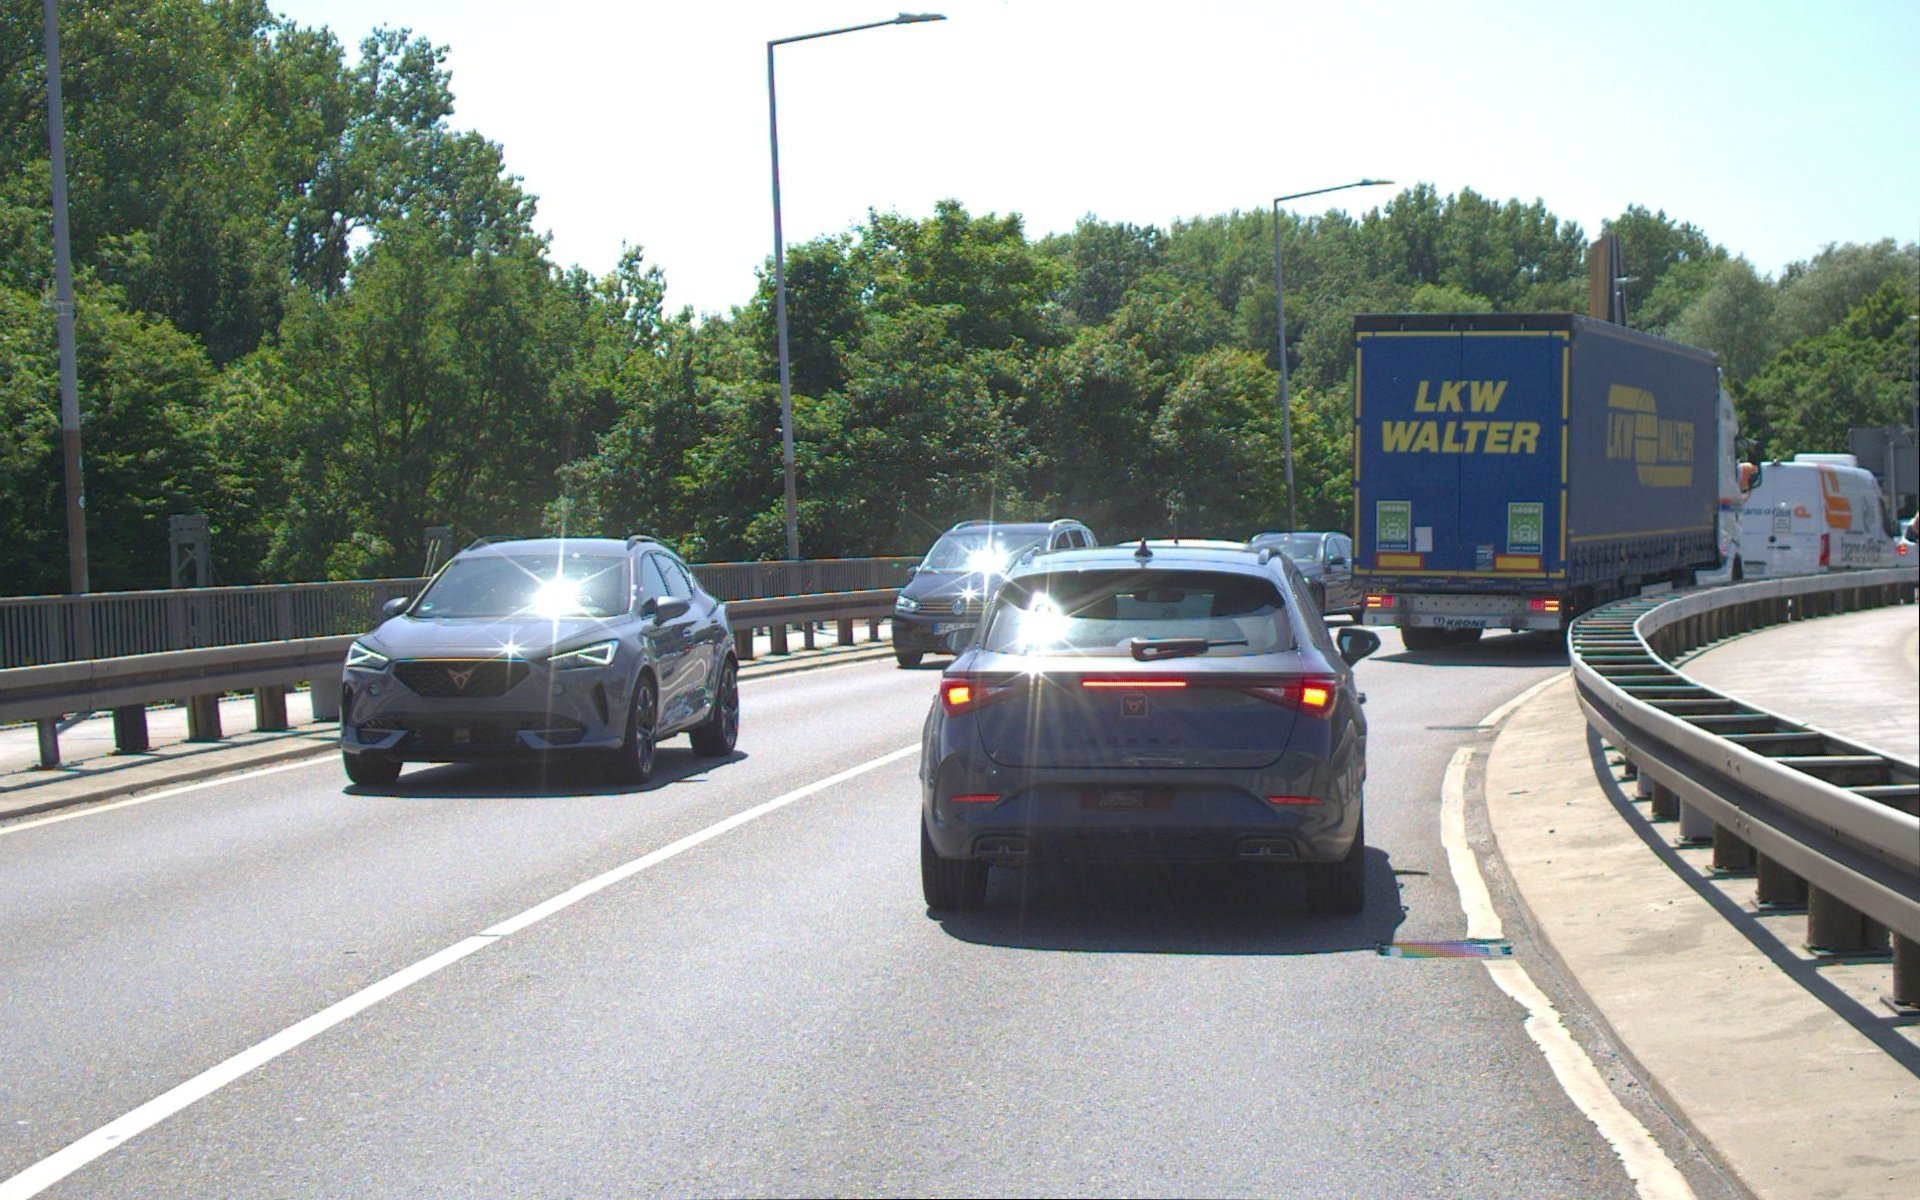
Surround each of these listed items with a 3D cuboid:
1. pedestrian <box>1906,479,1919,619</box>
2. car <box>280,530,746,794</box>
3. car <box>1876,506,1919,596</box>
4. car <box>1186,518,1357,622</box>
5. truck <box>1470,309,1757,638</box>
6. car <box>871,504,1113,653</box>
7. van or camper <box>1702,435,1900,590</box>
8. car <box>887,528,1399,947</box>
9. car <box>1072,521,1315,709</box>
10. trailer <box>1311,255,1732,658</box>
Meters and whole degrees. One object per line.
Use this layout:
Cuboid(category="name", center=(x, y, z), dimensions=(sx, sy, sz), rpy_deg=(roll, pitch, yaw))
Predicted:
Cuboid(category="pedestrian", center=(13.716, -0.716, 48.307), dimensions=(0.737, 1.961, 0.733), rpy_deg=(0, 0, 21))
Cuboid(category="car", center=(-2.704, 0.331, 21.859), dimensions=(1.887, 1.491, 4.315), rpy_deg=(-1, 1, 7))
Cuboid(category="car", center=(20.760, -1.015, 72.387), dimensions=(1.892, 1.843, 3.993), rpy_deg=(0, 1, 30))
Cuboid(category="car", center=(4.788, -0.468, 52.417), dimensions=(1.704, 1.505, 3.577), rpy_deg=(-1, 0, 20))
Cuboid(category="truck", center=(9.942, -1.792, 51.670), dimensions=(3.173, 4.569, 7.389), rpy_deg=(0, 0, 19))
Cuboid(category="car", center=(0.429, -0.252, 39.401), dimensions=(1.907, 1.584, 3.998), rpy_deg=(-1, 0, 13))
Cuboid(category="van or camper", center=(15.525, -1.616, 63.223), dimensions=(2.206, 2.702, 5.917), rpy_deg=(0, 2, 28))
Cuboid(category="car", center=(0.725, 0.458, 14.299), dimensions=(1.845, 1.493, 3.758), rpy_deg=(0, 1, 2))
Cuboid(category="car", center=(2.010, 0.096, 28.791), dimensions=(1.594, 1.456, 3.543), rpy_deg=(1, 1, 11))
Cuboid(category="trailer", center=(7.818, -1.720, 45.829), dimensions=(3.137, 4.598, 12.935), rpy_deg=(1, 1, 20))
